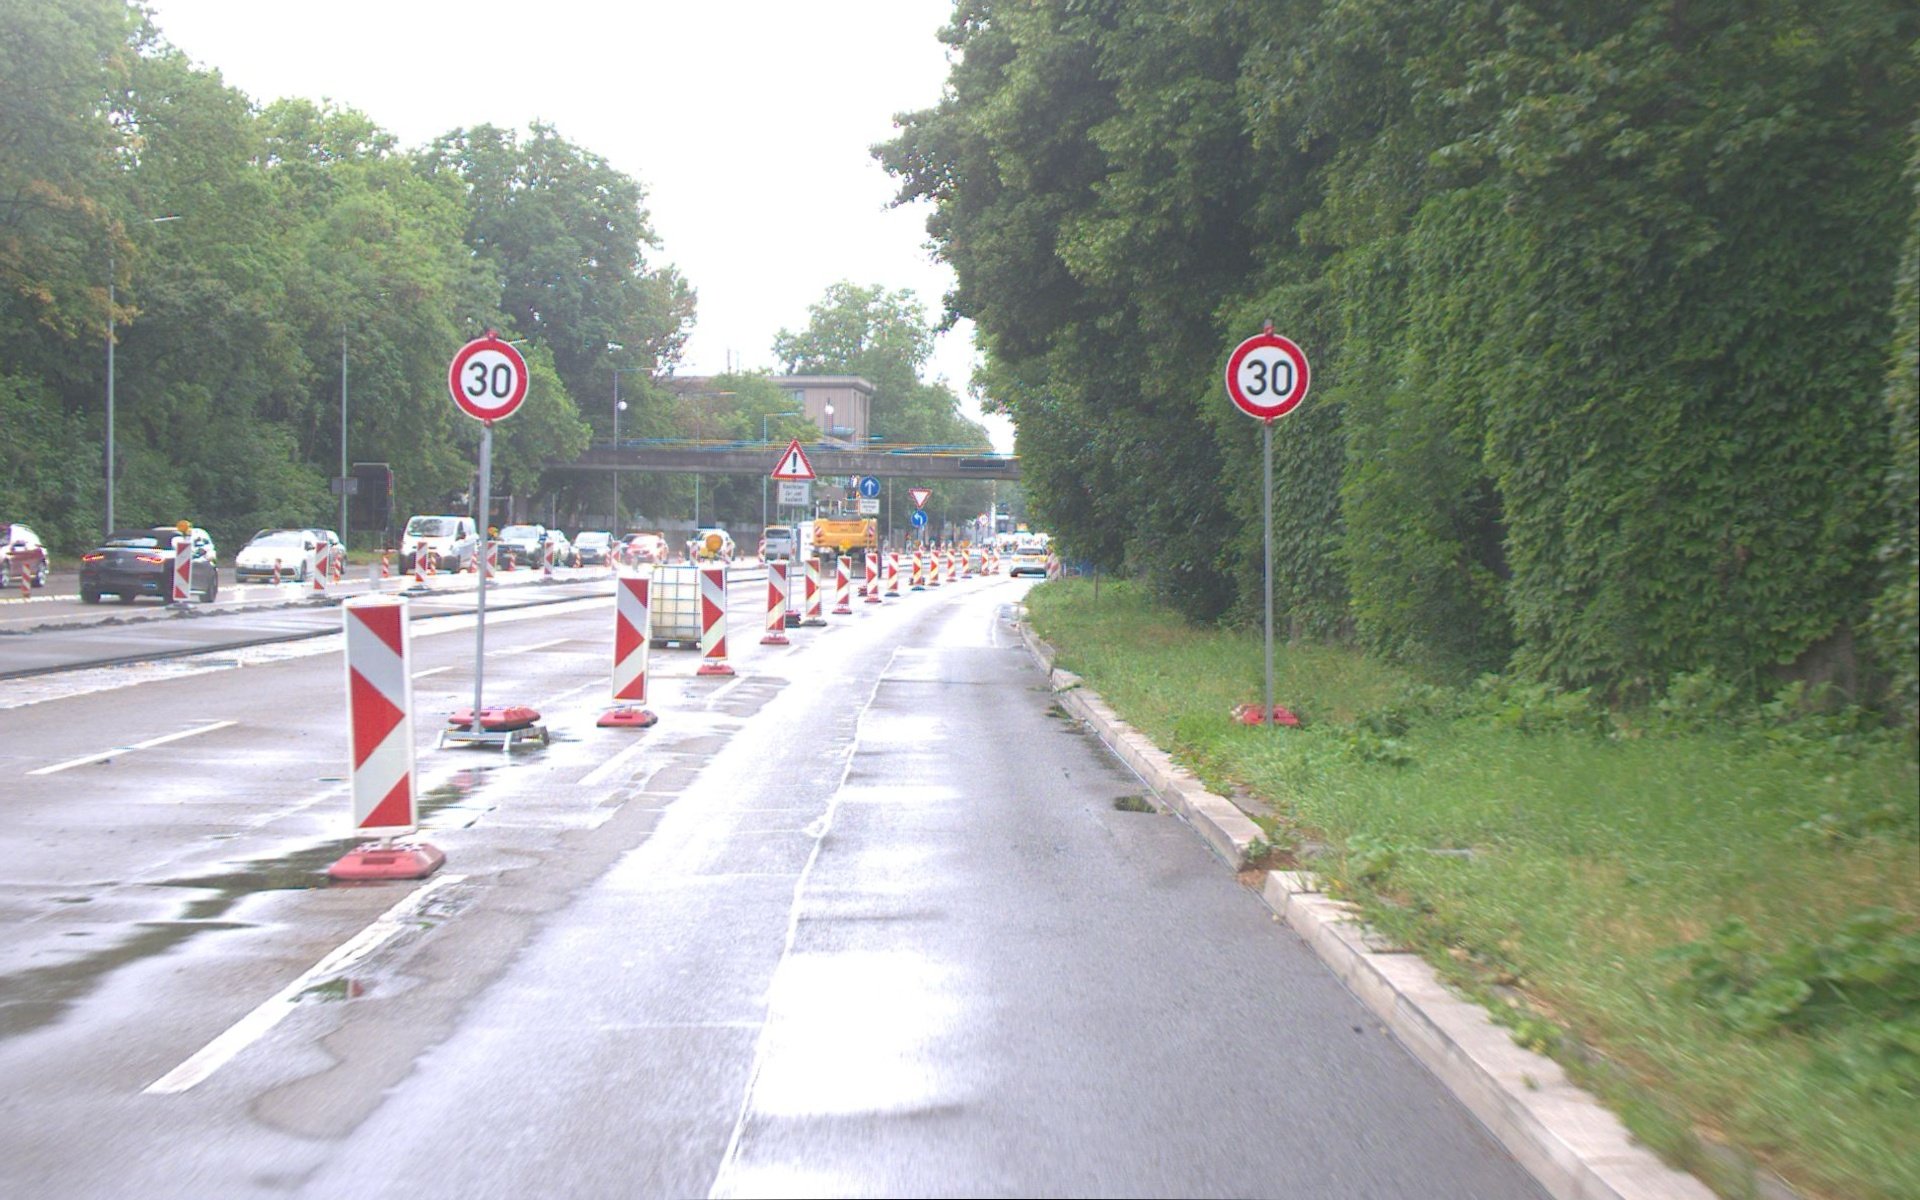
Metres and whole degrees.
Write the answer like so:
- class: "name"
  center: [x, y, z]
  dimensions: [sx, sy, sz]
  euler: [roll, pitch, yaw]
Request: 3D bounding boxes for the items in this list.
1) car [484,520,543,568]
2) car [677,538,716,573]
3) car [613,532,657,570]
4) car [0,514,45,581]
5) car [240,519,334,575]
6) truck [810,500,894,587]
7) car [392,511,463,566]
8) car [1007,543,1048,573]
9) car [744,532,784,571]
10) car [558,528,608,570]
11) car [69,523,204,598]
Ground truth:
- class: "car"
  center: [-17.093, -2.147, 131.849]
  dimensions: [1.670, 1.802, 4.320]
  euler: [0, 1, 0]
- class: "car"
  center: [-13.932, -2.365, 182.049]
  dimensions: [1.670, 1.802, 4.320]
  euler: [0, 1, 0]
- class: "car"
  center: [-15.611, -2.367, 165.445]
  dimensions: [1.670, 1.802, 4.320]
  euler: [0, 1, 0]
- class: "car"
  center: [-21.794, -1.177, 76.564]
  dimensions: [1.670, 1.480, 4.320]
  euler: [0, 1, 0]
- class: "car"
  center: [-18.249, -1.447, 93.398]
  dimensions: [1.670, 1.480, 4.320]
  euler: [0, 1, 0]
- class: "truck"
  center: [-4.490, -2.398, 145.634]
  dimensions: [3.259, 3.485, 13.871]
  euler: [0, 1, -1]
- class: "car"
  center: [-17.797, -2.063, 114.950]
  dimensions: [1.670, 1.802, 4.320]
  euler: [0, 1, 0]
- class: "car"
  center: [3.085, -1.932, 157.722]
  dimensions: [1.697, 1.331, 3.491]
  euler: [-2, 1, -1]
- class: "car"
  center: [-9.545, -2.397, 167.640]
  dimensions: [1.670, 1.802, 4.320]
  euler: [0, 2, 0]
- class: "car"
  center: [-16.433, -2.227, 149.949]
  dimensions: [1.670, 1.802, 4.320]
  euler: [0, 1, 0]
- class: "car"
  center: [-15.804, -0.768, 66.133]
  dimensions: [1.607, 1.399, 4.041]
  euler: [0, 1, 0]
